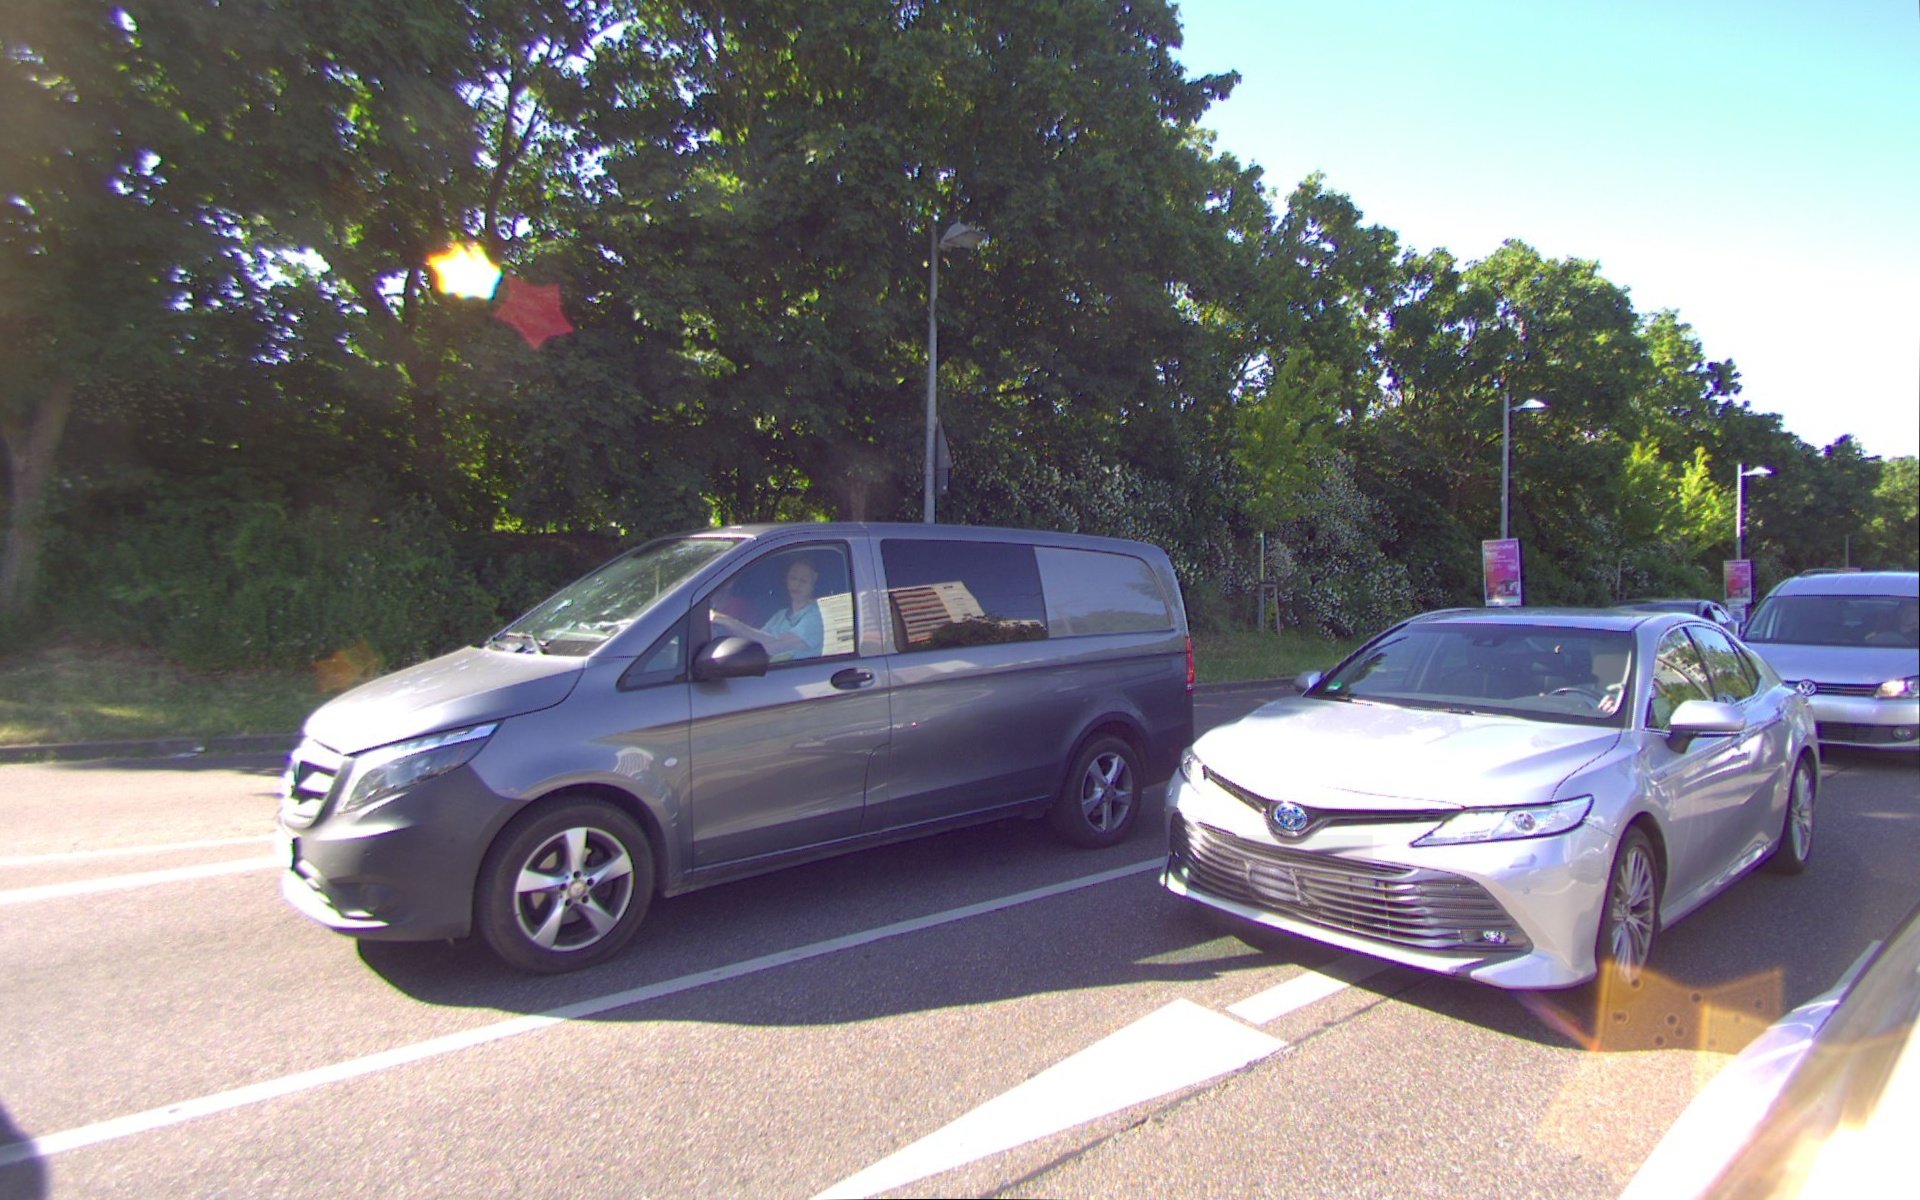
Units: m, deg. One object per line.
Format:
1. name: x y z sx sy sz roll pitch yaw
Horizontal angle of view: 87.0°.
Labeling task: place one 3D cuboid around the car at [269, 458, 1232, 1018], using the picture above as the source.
1. car: -0.766 0.433 5.670 5.011 1.875 1.809 0 2 -39

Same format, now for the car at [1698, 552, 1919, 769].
1. car: 9.503 0.485 10.552 4.504 1.844 1.809 -1 1 -39

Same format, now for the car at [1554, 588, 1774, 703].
1. car: 10.951 0.595 15.644 4.151 1.527 1.771 -1 0 -40

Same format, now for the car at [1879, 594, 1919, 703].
1. car: 14.843 0.678 14.791 4.126 1.472 1.715 0 1 -43

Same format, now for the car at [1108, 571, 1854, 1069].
1. car: 2.987 0.664 5.253 4.599 1.512 1.808 0 0 -40
